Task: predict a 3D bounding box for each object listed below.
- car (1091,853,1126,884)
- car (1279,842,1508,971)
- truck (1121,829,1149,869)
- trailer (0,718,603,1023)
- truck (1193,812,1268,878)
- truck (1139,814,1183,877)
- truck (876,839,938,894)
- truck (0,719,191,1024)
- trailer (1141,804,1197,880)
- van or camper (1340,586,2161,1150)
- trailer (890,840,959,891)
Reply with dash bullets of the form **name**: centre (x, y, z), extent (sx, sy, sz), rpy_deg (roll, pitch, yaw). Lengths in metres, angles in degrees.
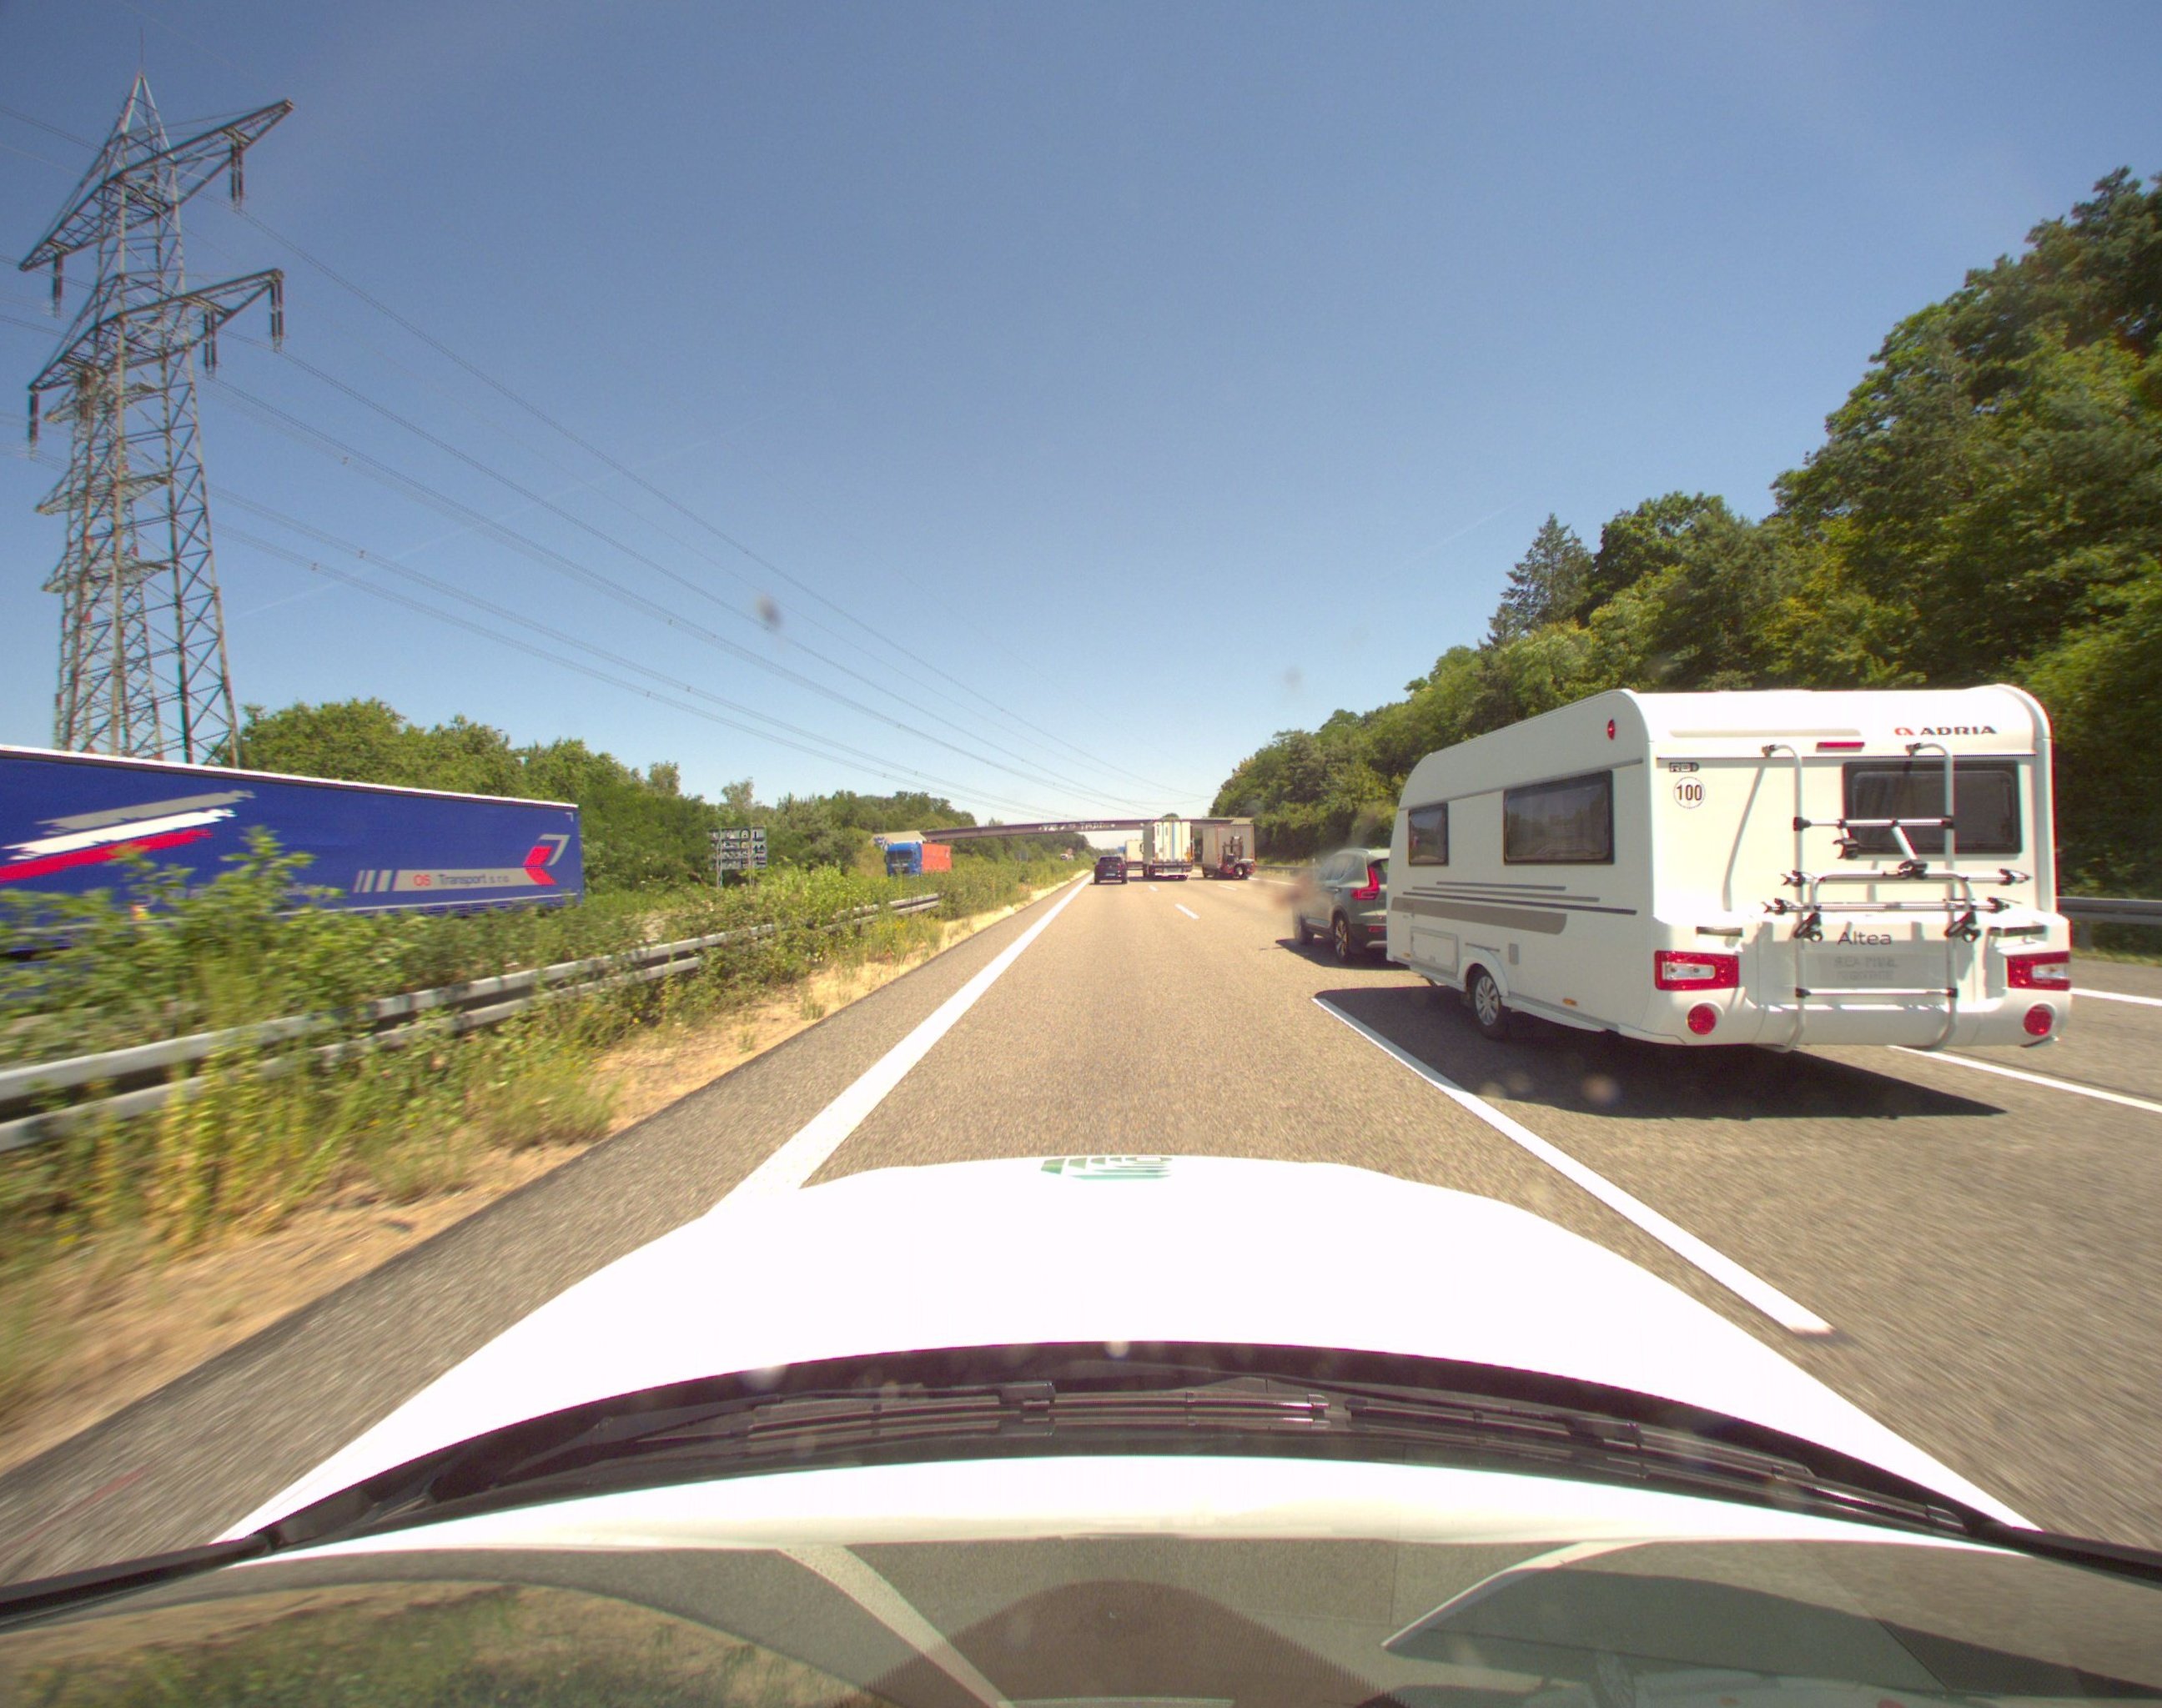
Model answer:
- **car**: centre (1.642, 0.843, 49.644), extent (1.987, 1.772, 4.000), rpy_deg (-2, 0, 1)
- **car**: centre (4.547, 0.684, 12.712), extent (1.872, 1.612, 4.703), rpy_deg (-1, 0, 2)
- **truck**: centre (7.332, -0.658, 111.784), extent (3.499, 5.166, 10.262), rpy_deg (-1, 0, 2)
- **trailer**: centre (-16.868, 0.344, 18.435), extent (3.076, 4.407, 14.237), rpy_deg (-4, 0, 2)
- **truck**: centre (10.369, -0.518, 57.931), extent (3.557, 4.245, 11.656), rpy_deg (0, -1, 2)
- **truck**: centre (6.318, -0.618, 65.573), extent (3.075, 4.885, 6.599), rpy_deg (0, -1, 1)
- **truck**: centre (-15.259, 1.039, 72.056), extent (3.331, 4.407, 7.975), rpy_deg (-3, 0, 2)
- **truck**: centre (-17.138, 0.327, 10.693), extent (3.076, 4.407, 6.804), rpy_deg (-4, 0, 2)
- **trailer**: centre (6.103, -0.692, 58.338), extent (3.075, 4.885, 12.262), rpy_deg (0, -1, 2)
- **van or camper**: centre (4.437, 0.069, 7.136), extent (2.430, 2.675, 6.352), rpy_deg (-2, 0, 2)
- **trailer**: centre (-14.999, 1.070, 79.443), extent (3.331, 4.407, 14.171), rpy_deg (-3, 0, 2)
